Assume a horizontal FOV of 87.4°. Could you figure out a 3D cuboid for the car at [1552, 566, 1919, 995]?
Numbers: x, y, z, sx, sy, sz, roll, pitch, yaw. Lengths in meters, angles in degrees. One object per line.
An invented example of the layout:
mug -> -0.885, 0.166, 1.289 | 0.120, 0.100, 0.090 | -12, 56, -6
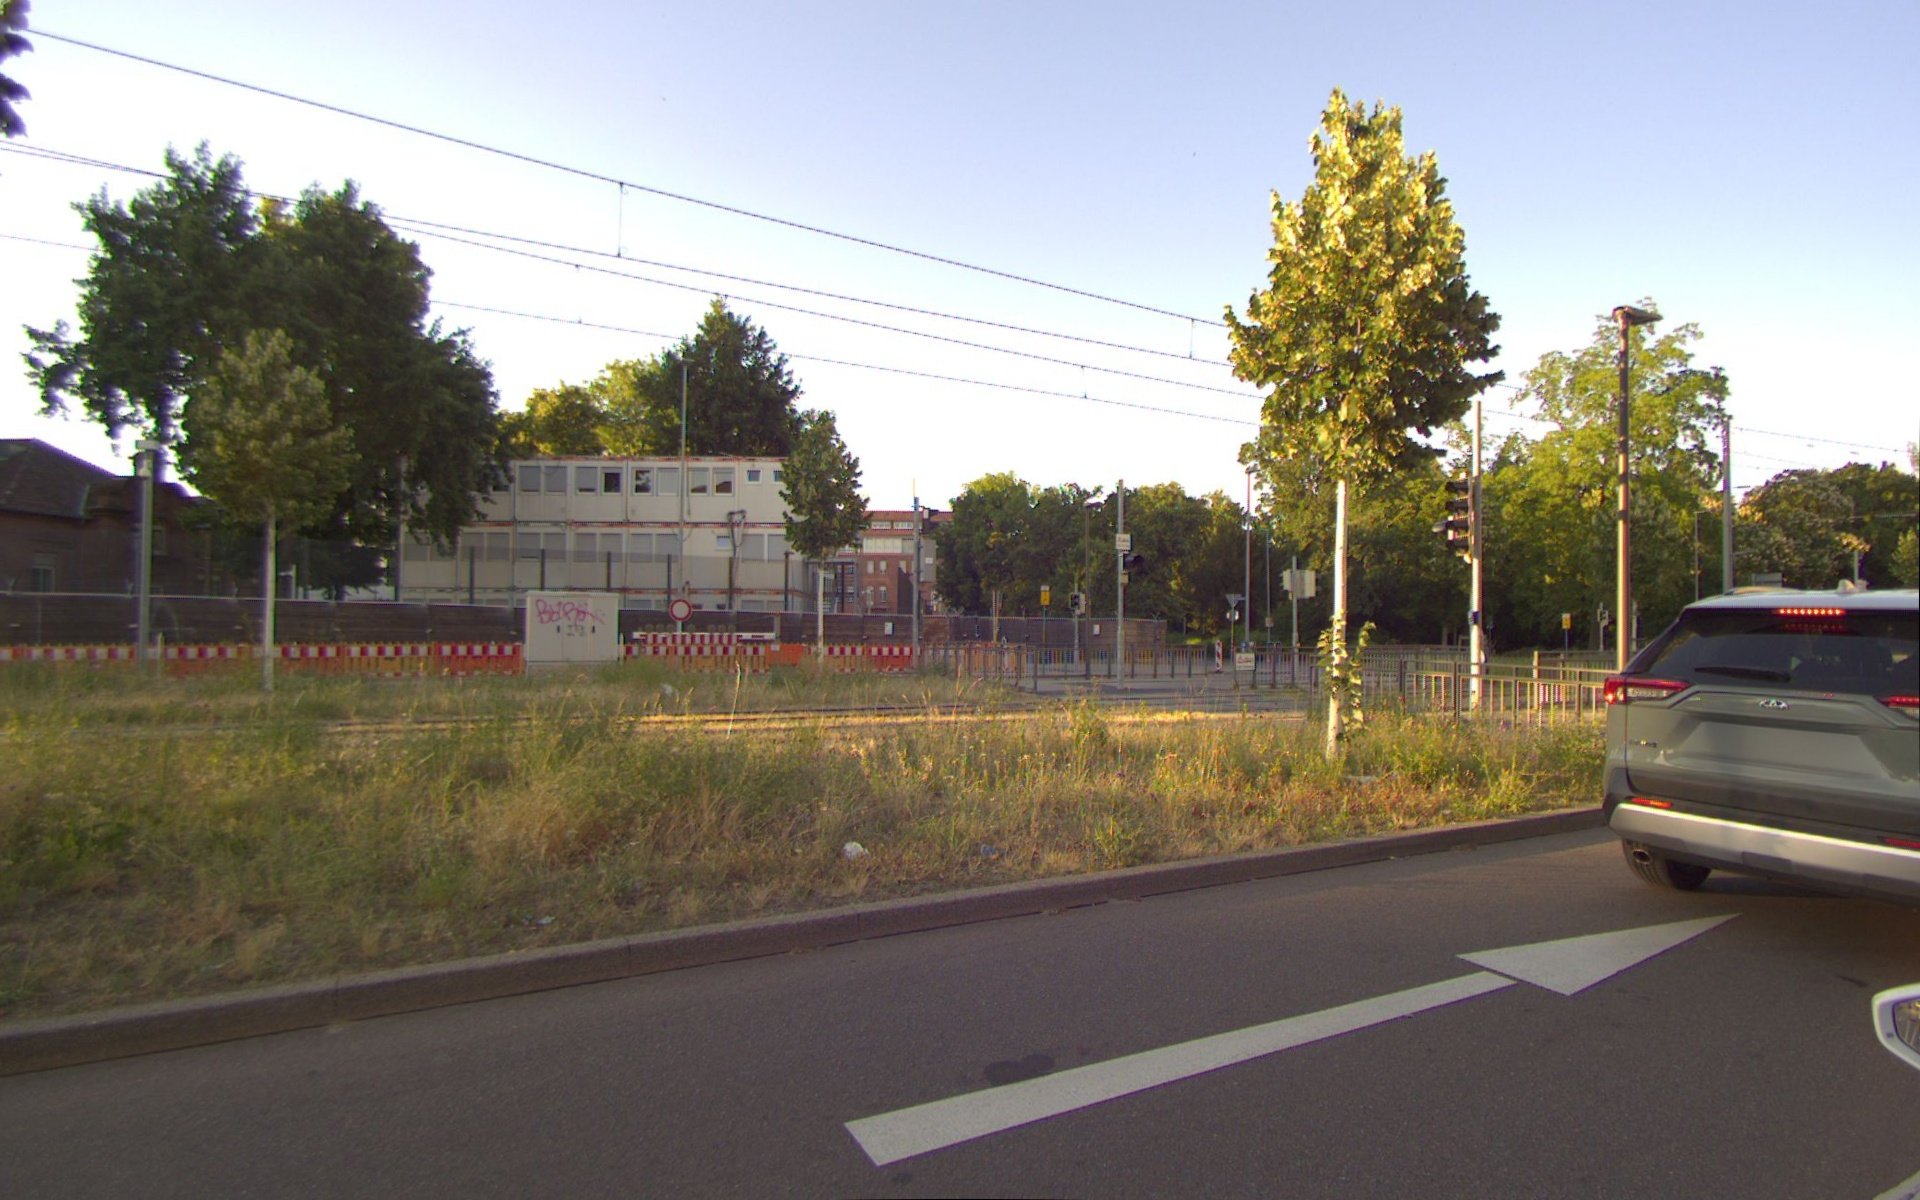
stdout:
car -> 5.329, 0.713, 5.460 | 4.218, 1.681, 1.845 | 0, 0, -31
